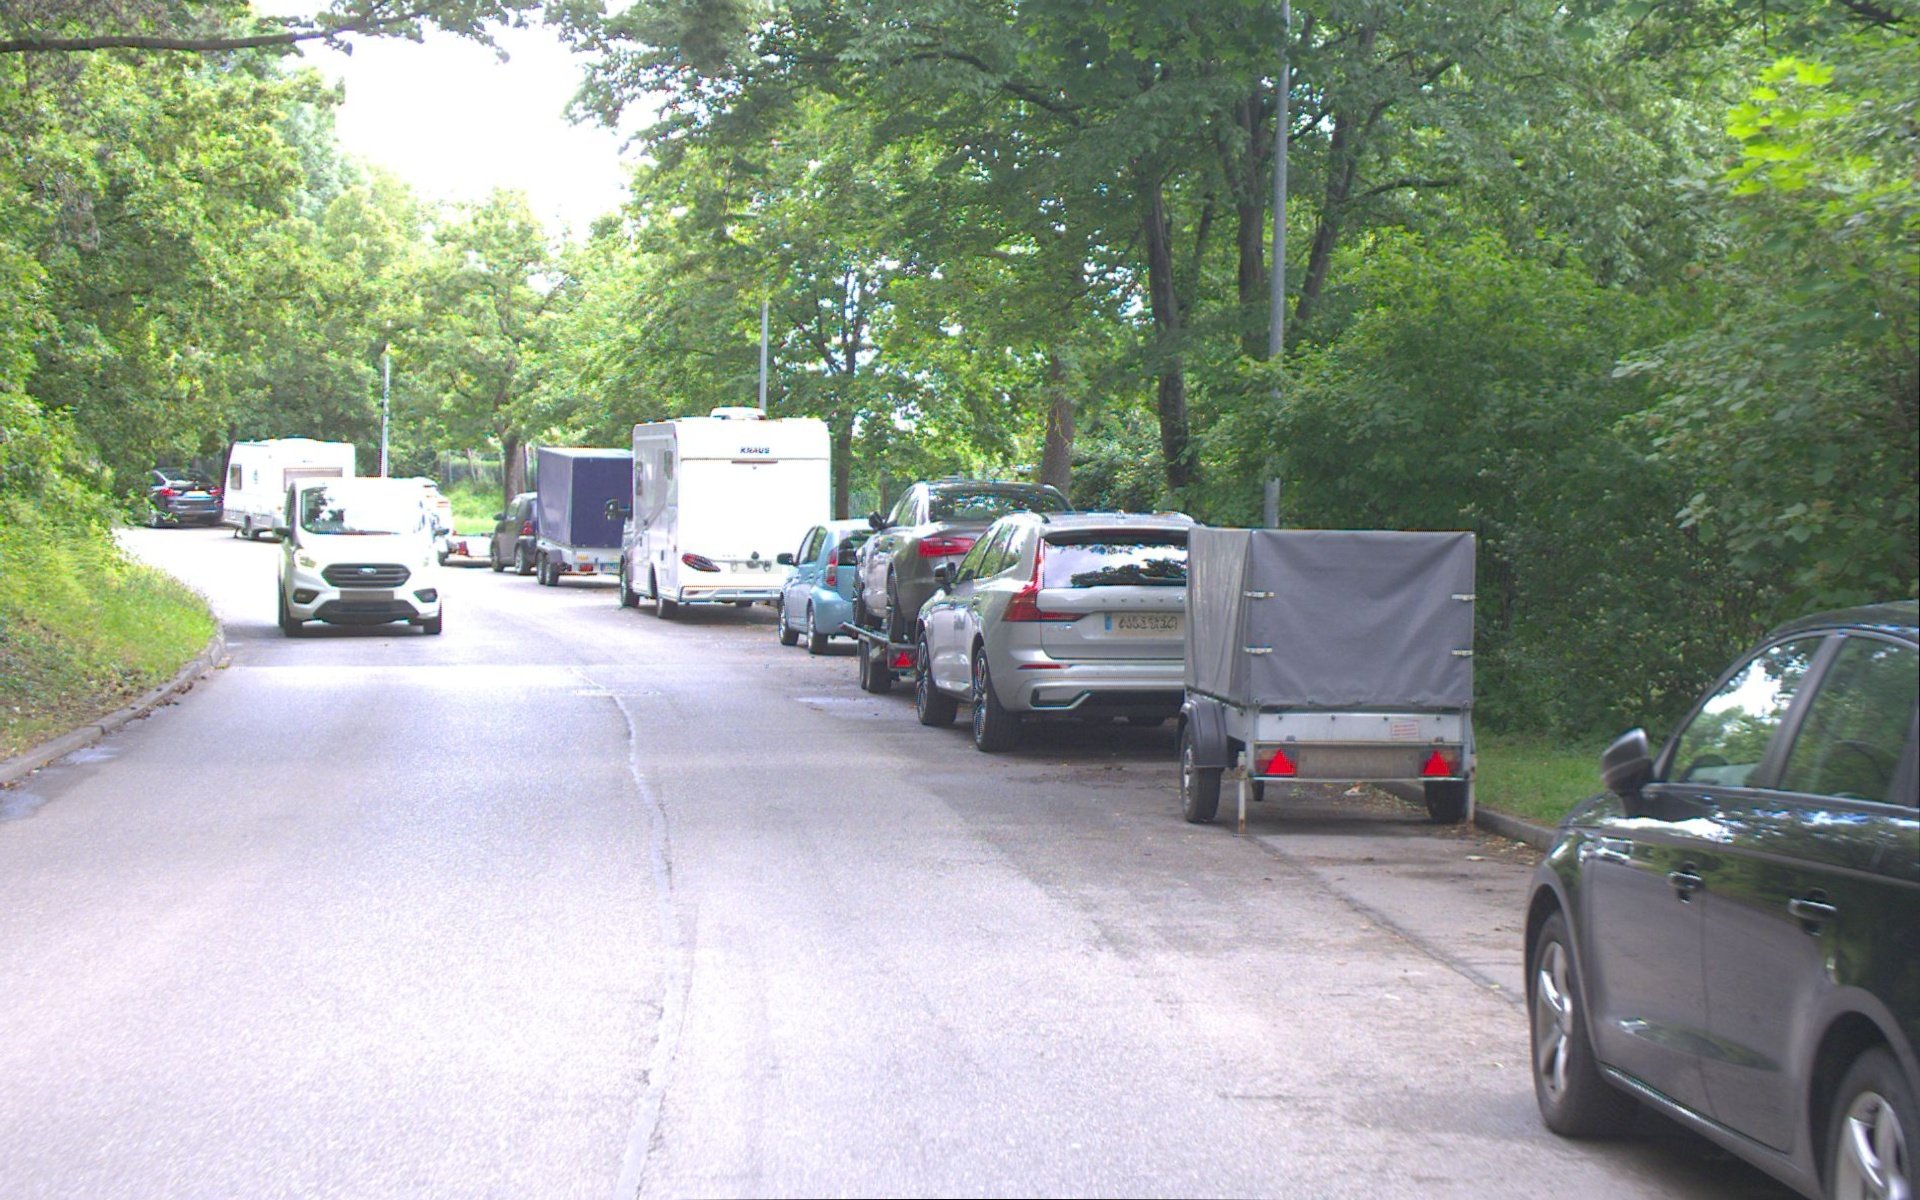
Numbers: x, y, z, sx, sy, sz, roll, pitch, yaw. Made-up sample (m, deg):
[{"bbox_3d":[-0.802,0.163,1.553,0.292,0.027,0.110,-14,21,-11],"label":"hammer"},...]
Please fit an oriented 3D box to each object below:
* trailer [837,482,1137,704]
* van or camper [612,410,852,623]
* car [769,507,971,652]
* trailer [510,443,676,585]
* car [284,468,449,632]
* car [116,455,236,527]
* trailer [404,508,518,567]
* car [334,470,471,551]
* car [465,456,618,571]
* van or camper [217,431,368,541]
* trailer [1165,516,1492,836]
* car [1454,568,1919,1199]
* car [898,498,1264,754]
[{"bbox_3d":[0.136,-0.138,30.963,1.978,1.805,5.150,1,2,-8],"label":"trailer"},{"bbox_3d":[-3.449,-1.229,50.430,2.481,2.866,6.892,1,1,-12],"label":"van or camper"},{"bbox_3d":[-1.105,-0.278,40.261,1.799,1.556,3.837,0,2,-10],"label":"car"},{"bbox_3d":[-6.533,-1.535,60.888,1.993,2.390,4.001,1,1,-20],"label":"trailer"},{"bbox_3d":[-7.682,-0.681,44.835,1.947,1.977,4.503,1,1,-8],"label":"car"},{"bbox_3d":[-21.805,-3.044,95.528,1.994,1.863,4.000,-2,4,-33],"label":"car"},{"bbox_3d":[-10.161,-1.285,69.850,1.651,1.083,4.002,-1,3,-17],"label":"trailer"},{"bbox_3d":[-12.804,-2.065,78.780,2.034,1.797,4.084,0,2,-25],"label":"car"},{"bbox_3d":[-8.085,-1.696,66.194,1.993,2.019,4.002,-2,4,-21],"label":"car"},{"bbox_3d":[-16.836,-2.883,86.521,2.526,2.688,4.576,-1,3,-27],"label":"van or camper"},{"bbox_3d":[1.927,0.357,18.506,1.278,1.579,2.461,1,1,-5],"label":"trailer"},{"bbox_3d":[2.414,0.693,7.668,1.720,1.448,3.918,2,1,-5],"label":"car"},{"bbox_3d":[0.764,0.173,24.833,1.791,1.664,4.503,1,0,-9],"label":"car"}]
